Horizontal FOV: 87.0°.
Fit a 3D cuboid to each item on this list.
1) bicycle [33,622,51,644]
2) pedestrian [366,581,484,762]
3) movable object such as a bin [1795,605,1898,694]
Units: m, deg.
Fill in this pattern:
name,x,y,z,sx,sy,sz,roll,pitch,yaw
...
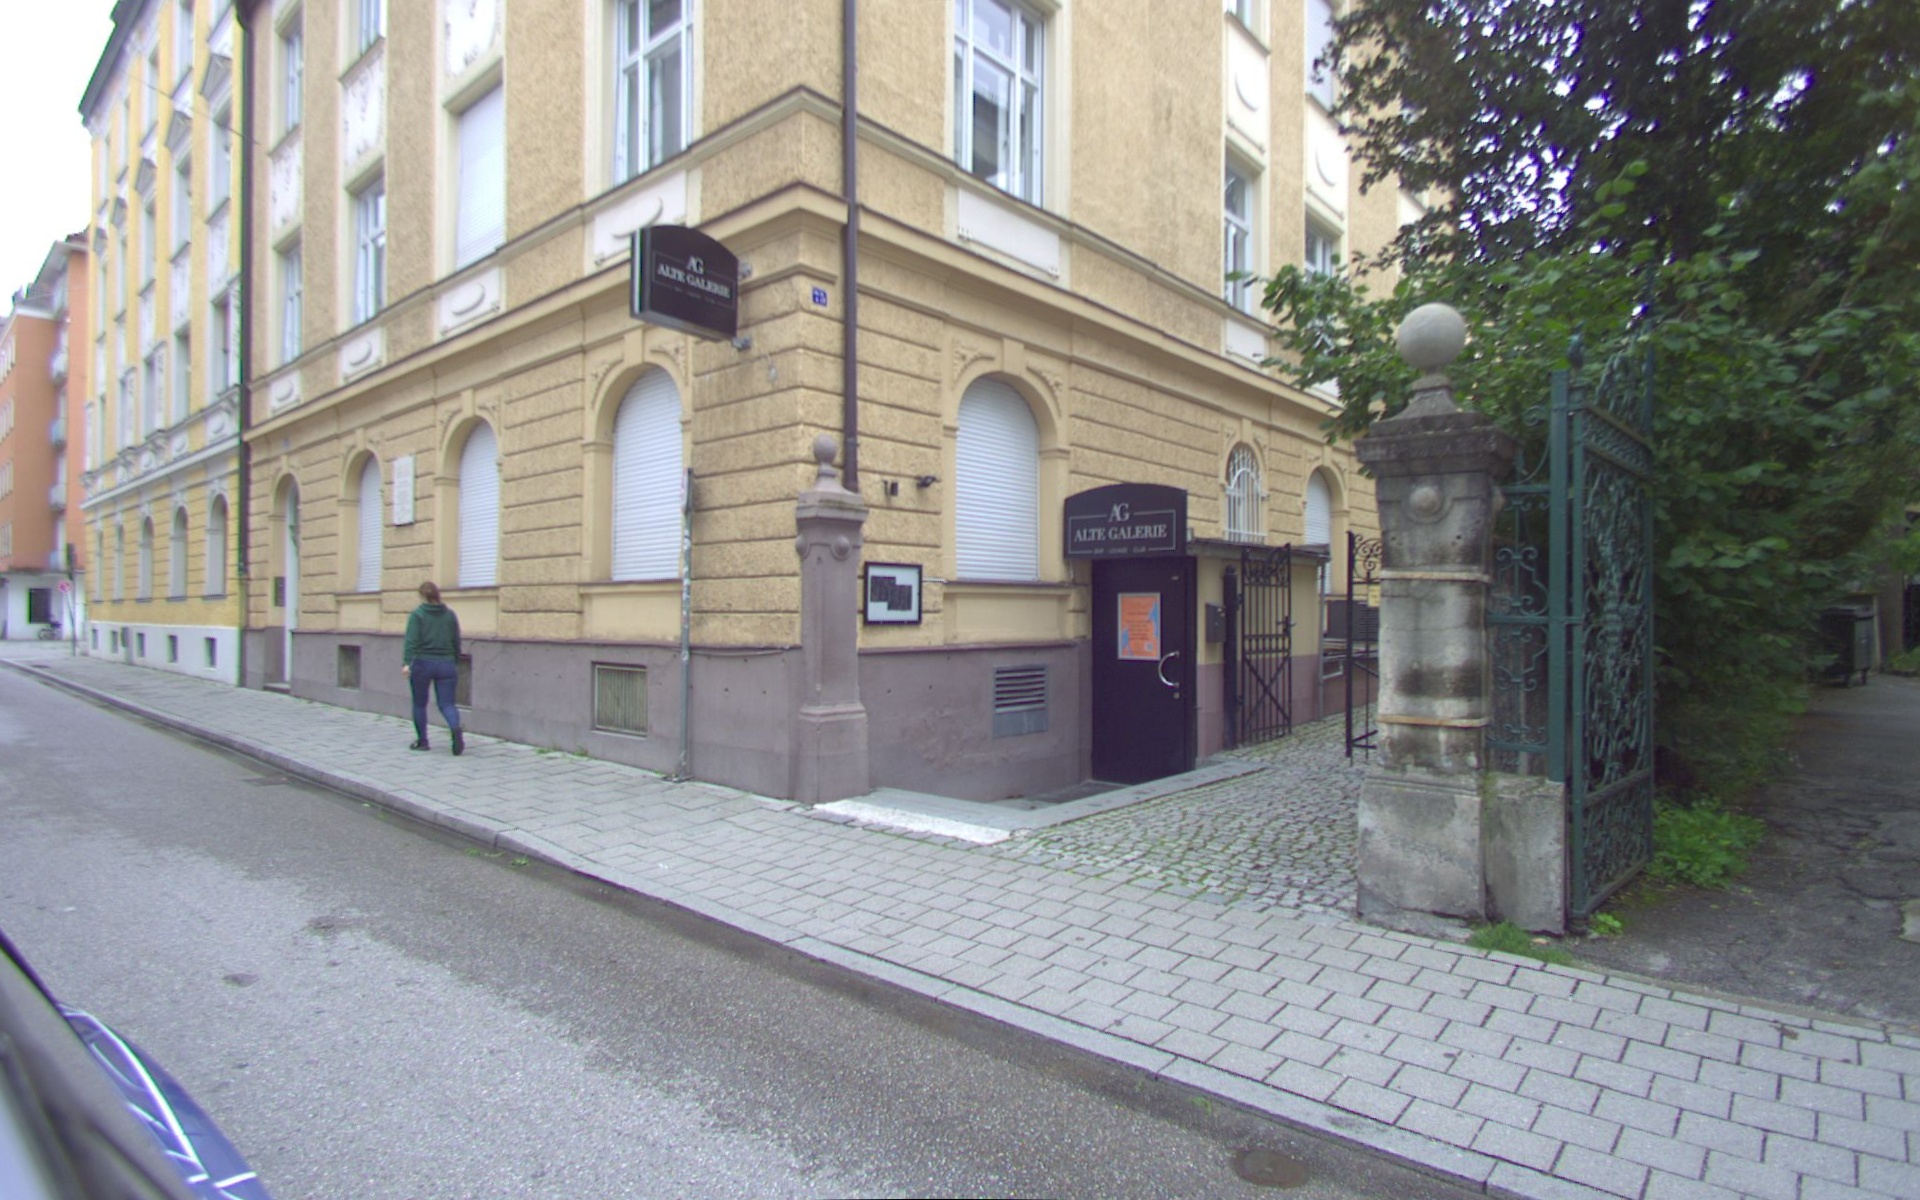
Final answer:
name,x,y,z,sx,sy,sz,roll,pitch,yaw
bicycle,-39.086,1.395,43.095,1.539,0.944,0.386,-1,-2,42
pedestrian,-5.299,0.666,10.017,0.929,1.678,0.705,-1,1,41
movable object such as a bin,14.714,0.796,16.797,1.208,1.414,1.109,1,-2,-41
